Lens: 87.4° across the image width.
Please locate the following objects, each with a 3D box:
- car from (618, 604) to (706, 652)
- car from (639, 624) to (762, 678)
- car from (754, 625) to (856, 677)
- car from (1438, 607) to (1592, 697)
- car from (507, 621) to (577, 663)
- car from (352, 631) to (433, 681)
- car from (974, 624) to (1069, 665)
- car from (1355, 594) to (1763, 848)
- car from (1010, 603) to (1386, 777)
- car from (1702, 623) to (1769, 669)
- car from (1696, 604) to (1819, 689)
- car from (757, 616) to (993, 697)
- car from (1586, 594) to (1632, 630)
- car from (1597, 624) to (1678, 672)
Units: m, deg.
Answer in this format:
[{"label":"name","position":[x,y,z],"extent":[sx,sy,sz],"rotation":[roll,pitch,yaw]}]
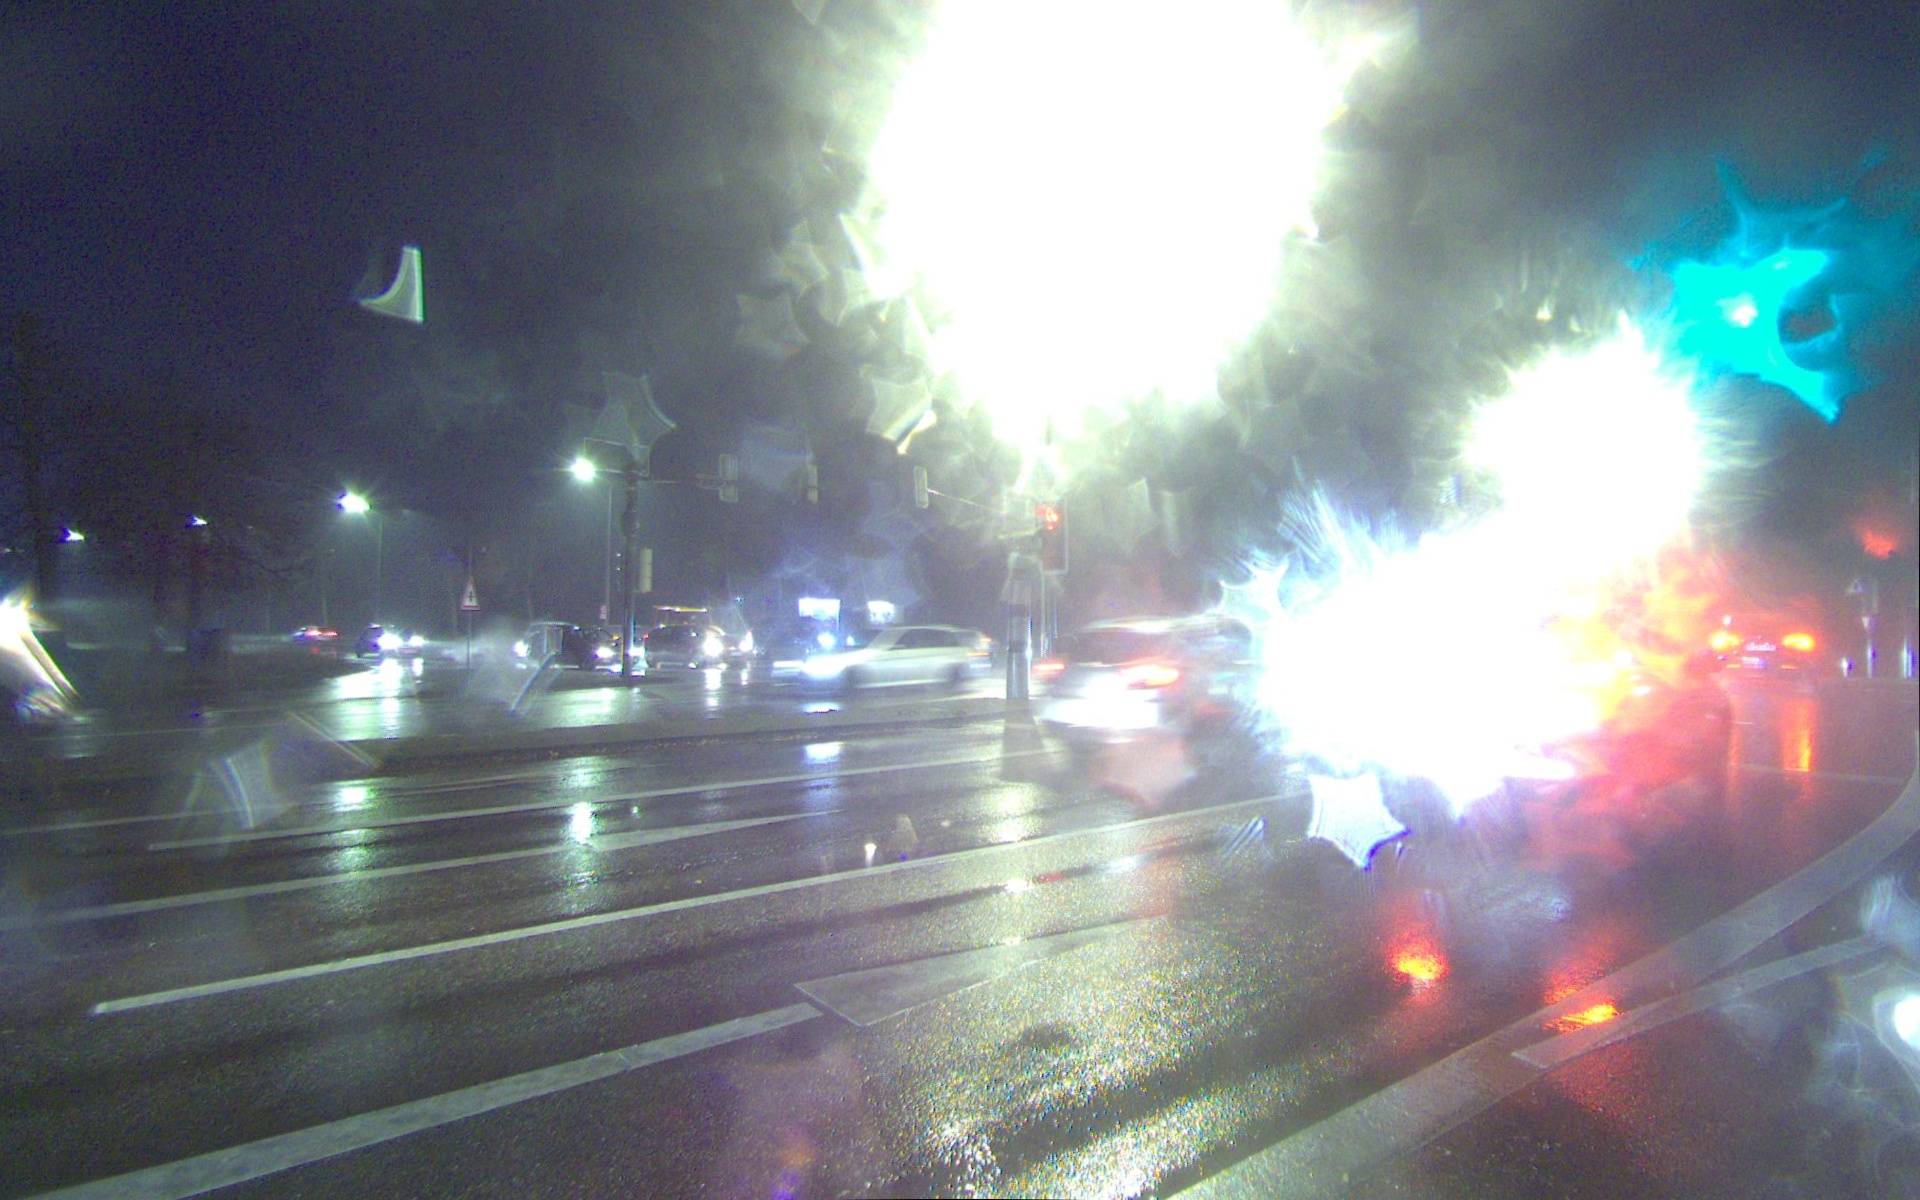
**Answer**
[{"label":"car","position":[-13.742,1.246,46.292],"extent":[4.080,2.051,1.787],"rotation":[1,0,37]},{"label":"car","position":[-9.095,1.729,35.112],"extent":[4.191,1.654,1.951],"rotation":[1,0,37]},{"label":"car","position":[-6.265,1.987,40.390],"extent":[4.080,1.878,1.661],"rotation":[1,0,37]},{"label":"car","position":[11.552,1.035,20.781],"extent":[1.889,1.680,3.964],"rotation":[0,-2,43]},{"label":"car","position":[-21.455,2.140,51.566],"extent":[3.551,1.964,1.707],"rotation":[1,-1,36]},{"label":"car","position":[-26.553,2.588,46.982],"extent":[3.931,2.107,1.659],"rotation":[1,0,33]},{"label":"car","position":[2.775,2.020,46.172],"extent":[4.210,1.740,1.933],"rotation":[1,0,0]},{"label":"car","position":[5.151,0.826,8.419],"extent":[3.993,1.613,1.833],"rotation":[2,-1,-42]},{"label":"car","position":[2.670,0.824,10.676],"extent":[4.257,1.455,1.721],"rotation":[2,0,-41]},{"label":"car","position":[27.310,1.602,35.324],"extent":[1.679,1.482,4.294],"rotation":[0,-2,40]},{"label":"car","position":[17.877,0.964,22.703],"extent":[1.803,1.675,4.466],"rotation":[2,1,34]},{"label":"car","position":[-1.671,1.117,21.048],"extent":[4.753,1.482,1.909],"rotation":[2,0,-43]},{"label":"car","position":[39.824,0.745,61.612],"extent":[1.756,2.106,3.978],"rotation":[2,0,42]},{"label":"car","position":[22.145,1.561,32.794],"extent":[1.637,1.464,3.771],"rotation":[0,-2,43]}]
